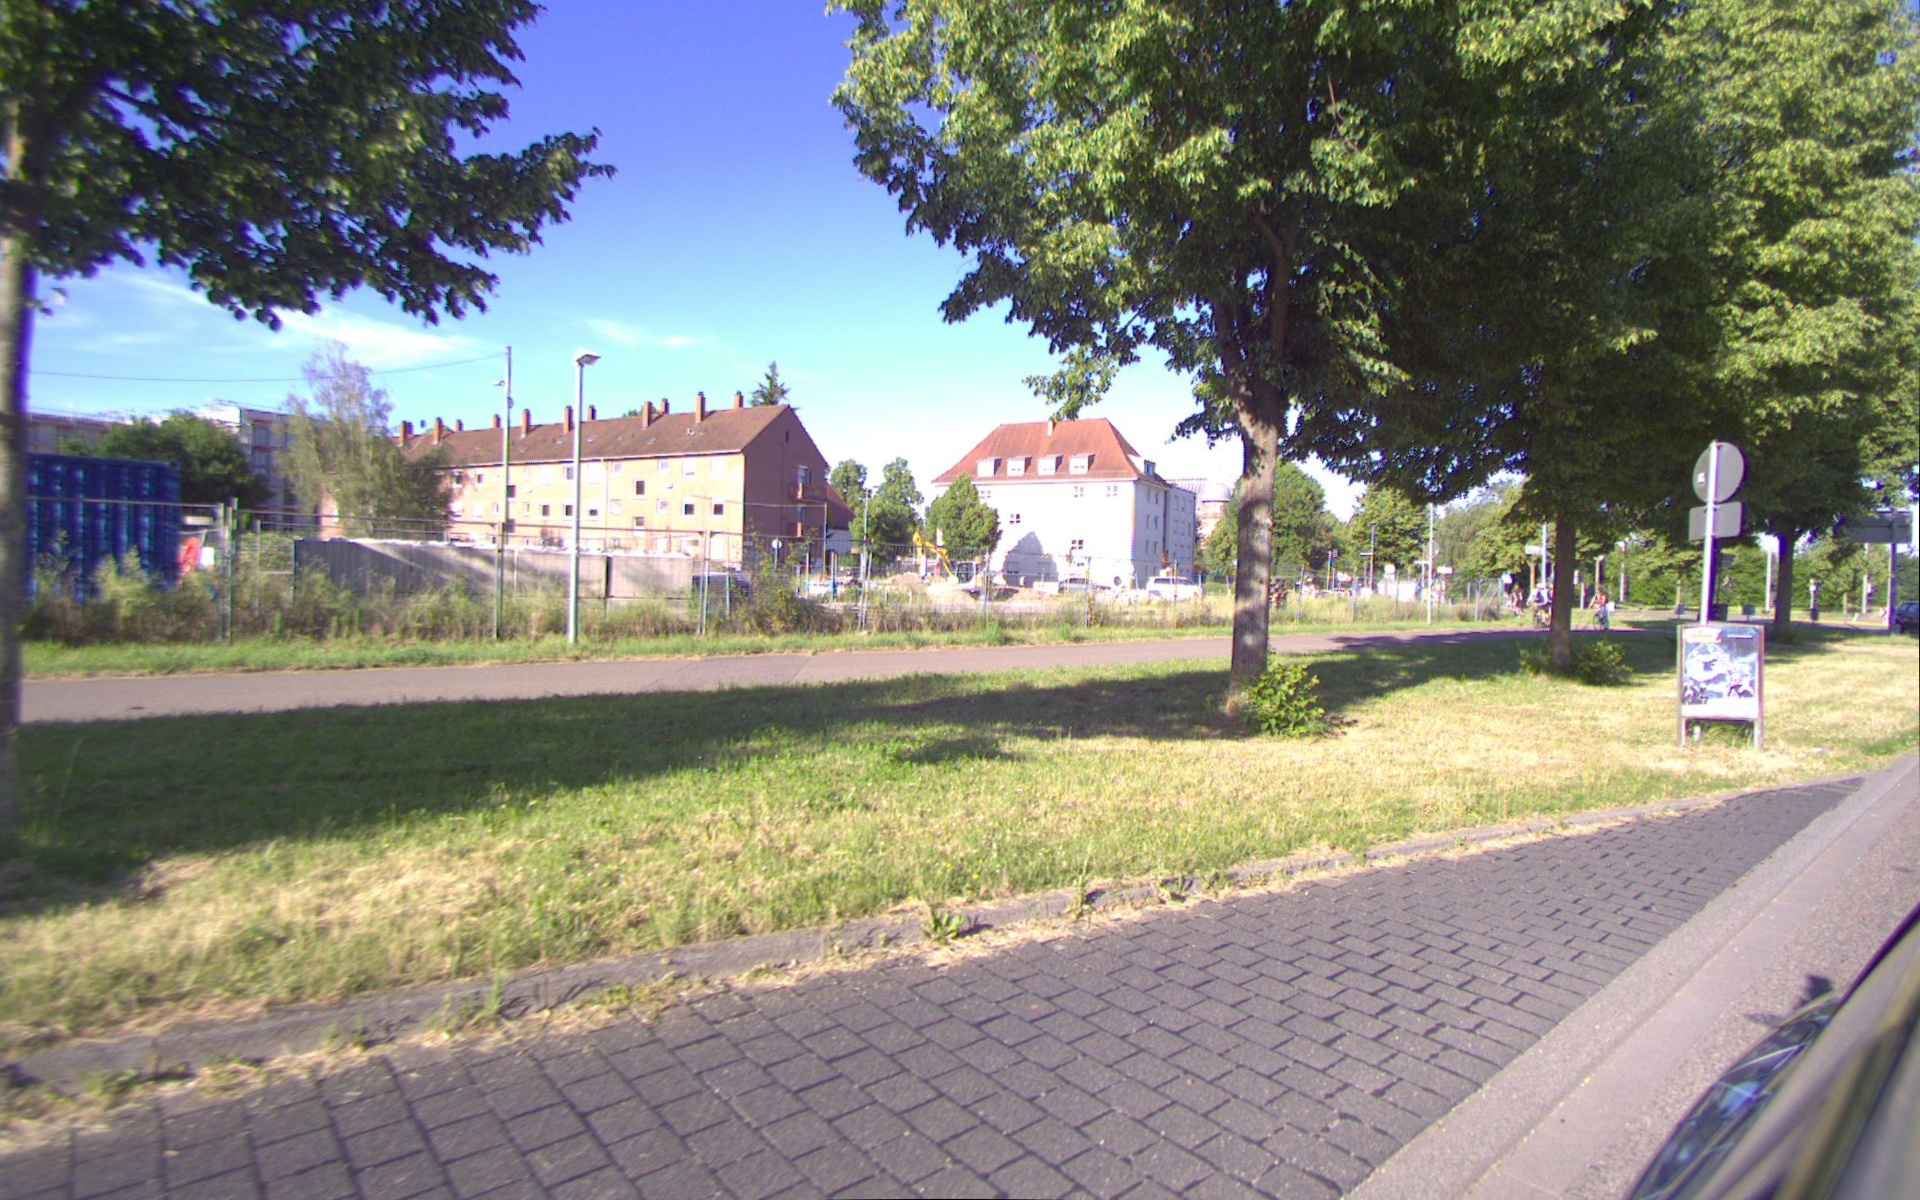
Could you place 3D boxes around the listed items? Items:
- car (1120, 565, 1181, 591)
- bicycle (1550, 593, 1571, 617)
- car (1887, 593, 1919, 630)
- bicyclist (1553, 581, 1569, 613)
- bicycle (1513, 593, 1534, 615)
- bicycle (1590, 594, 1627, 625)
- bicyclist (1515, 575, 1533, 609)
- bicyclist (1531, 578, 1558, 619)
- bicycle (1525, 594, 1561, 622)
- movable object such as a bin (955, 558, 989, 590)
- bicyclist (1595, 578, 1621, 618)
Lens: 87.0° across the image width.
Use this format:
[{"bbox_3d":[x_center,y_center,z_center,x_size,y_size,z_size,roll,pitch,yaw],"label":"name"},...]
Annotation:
[{"bbox_3d":[15.245,-1.778,81.021,4.433,2.038,1.980,2,2,29],"label":"car"},{"bbox_3d":[28.864,0.229,48.636,0.473,1.095,1.635,0,2,17],"label":"bicycle"},{"bbox_3d":[38.385,0.504,38.897,1.815,1.445,3.949,2,1,0],"label":"car"},{"bbox_3d":[28.862,-0.149,48.613,0.465,1.504,0.911,0,2,18],"label":"bicyclist"},{"bbox_3d":[27.235,0.198,48.926,0.586,0.972,1.888,0,2,20],"label":"bicycle"},{"bbox_3d":[24.445,0.355,38.153,1.573,1.166,0.508,1,1,-32],"label":"bicycle"},{"bbox_3d":[27.221,-0.403,48.863,0.586,1.606,0.959,0,2,20],"label":"bicyclist"},{"bbox_3d":[22.514,-0.070,38.952,0.781,1.572,0.654,0,2,-41],"label":"bicyclist"},{"bbox_3d":[22.430,0.291,38.914,1.788,1.025,0.656,0,1,-41],"label":"bicycle"},{"bbox_3d":[0.816,-1.717,66.756,2.033,2.038,1.996,0,2,8],"label":"movable object such as a bin"},{"bbox_3d":[24.413,-0.068,38.122,0.817,1.491,0.505,0,1,-32],"label":"bicyclist"}]
